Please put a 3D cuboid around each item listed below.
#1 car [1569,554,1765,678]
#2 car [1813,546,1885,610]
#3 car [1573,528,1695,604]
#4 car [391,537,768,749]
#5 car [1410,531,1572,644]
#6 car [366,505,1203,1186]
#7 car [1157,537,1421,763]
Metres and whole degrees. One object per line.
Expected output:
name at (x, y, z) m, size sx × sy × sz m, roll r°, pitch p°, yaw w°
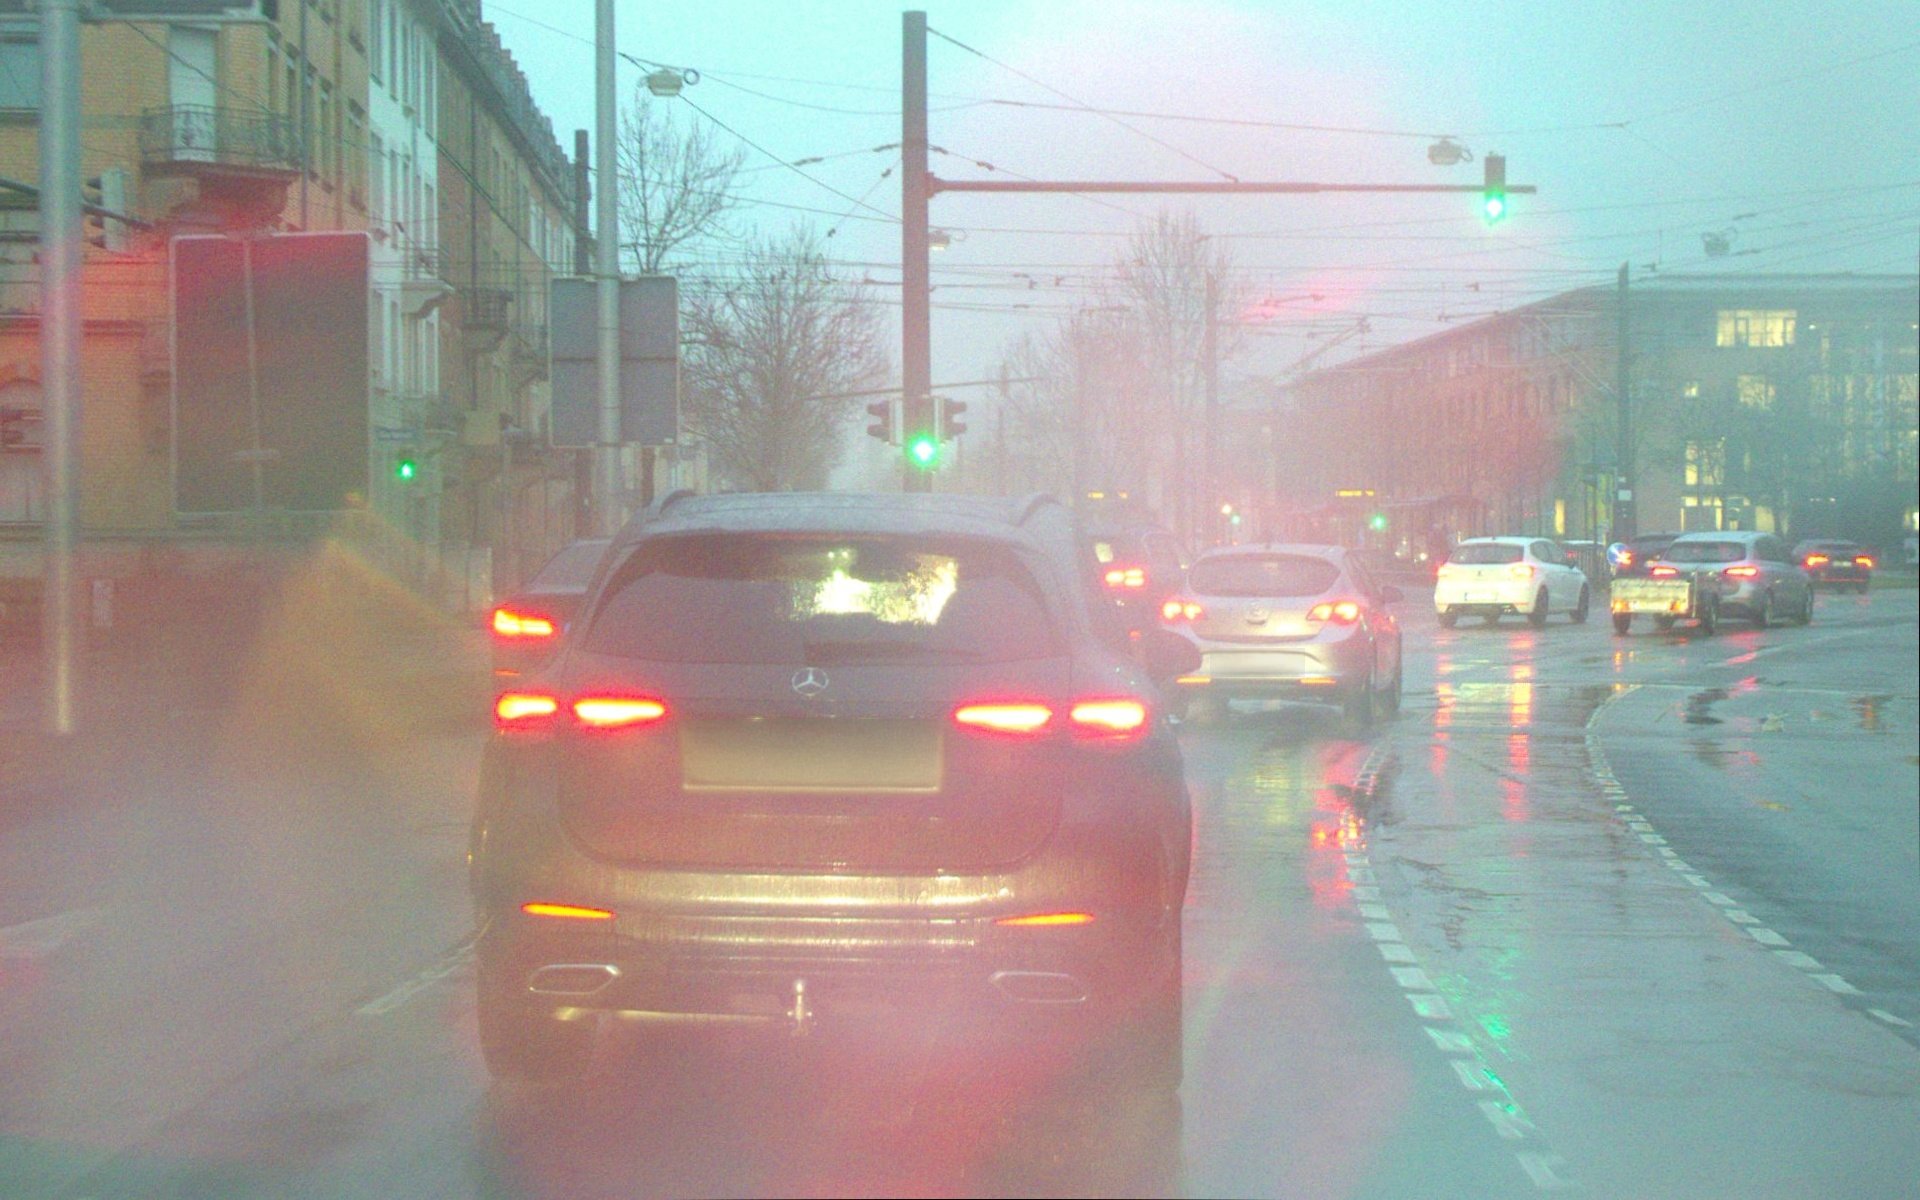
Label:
car at (10.732, 0.205, 51.994) m, size 1.996 × 1.759 × 3.995 m, roll 0°, pitch 1°, yaw 26°
car at (23.492, -0.592, 90.901) m, size 1.746 × 1.606 × 3.998 m, roll 0°, pitch 1°, yaw 13°
car at (13.171, -0.681, 67.051) m, size 1.864 × 1.405 × 3.940 m, roll 0°, pitch 1°, yaw 18°
car at (-2.661, 0.253, 24.998) m, size 1.994 × 1.393 × 4.000 m, roll 0°, pitch 1°, yaw 5°
car at (8.738, -0.234, 56.301) m, size 1.995 × 1.759 × 3.997 m, roll 0°, pitch 1°, yaw 18°
car at (-0.498, 0.542, 10.243) m, size 1.990 × 1.610 × 4.001 m, roll -1°, pitch 1°, yaw -2°
car at (2.866, 0.364, 29.225) m, size 1.994 × 1.759 × 3.999 m, roll 0°, pitch 1°, yaw 9°
